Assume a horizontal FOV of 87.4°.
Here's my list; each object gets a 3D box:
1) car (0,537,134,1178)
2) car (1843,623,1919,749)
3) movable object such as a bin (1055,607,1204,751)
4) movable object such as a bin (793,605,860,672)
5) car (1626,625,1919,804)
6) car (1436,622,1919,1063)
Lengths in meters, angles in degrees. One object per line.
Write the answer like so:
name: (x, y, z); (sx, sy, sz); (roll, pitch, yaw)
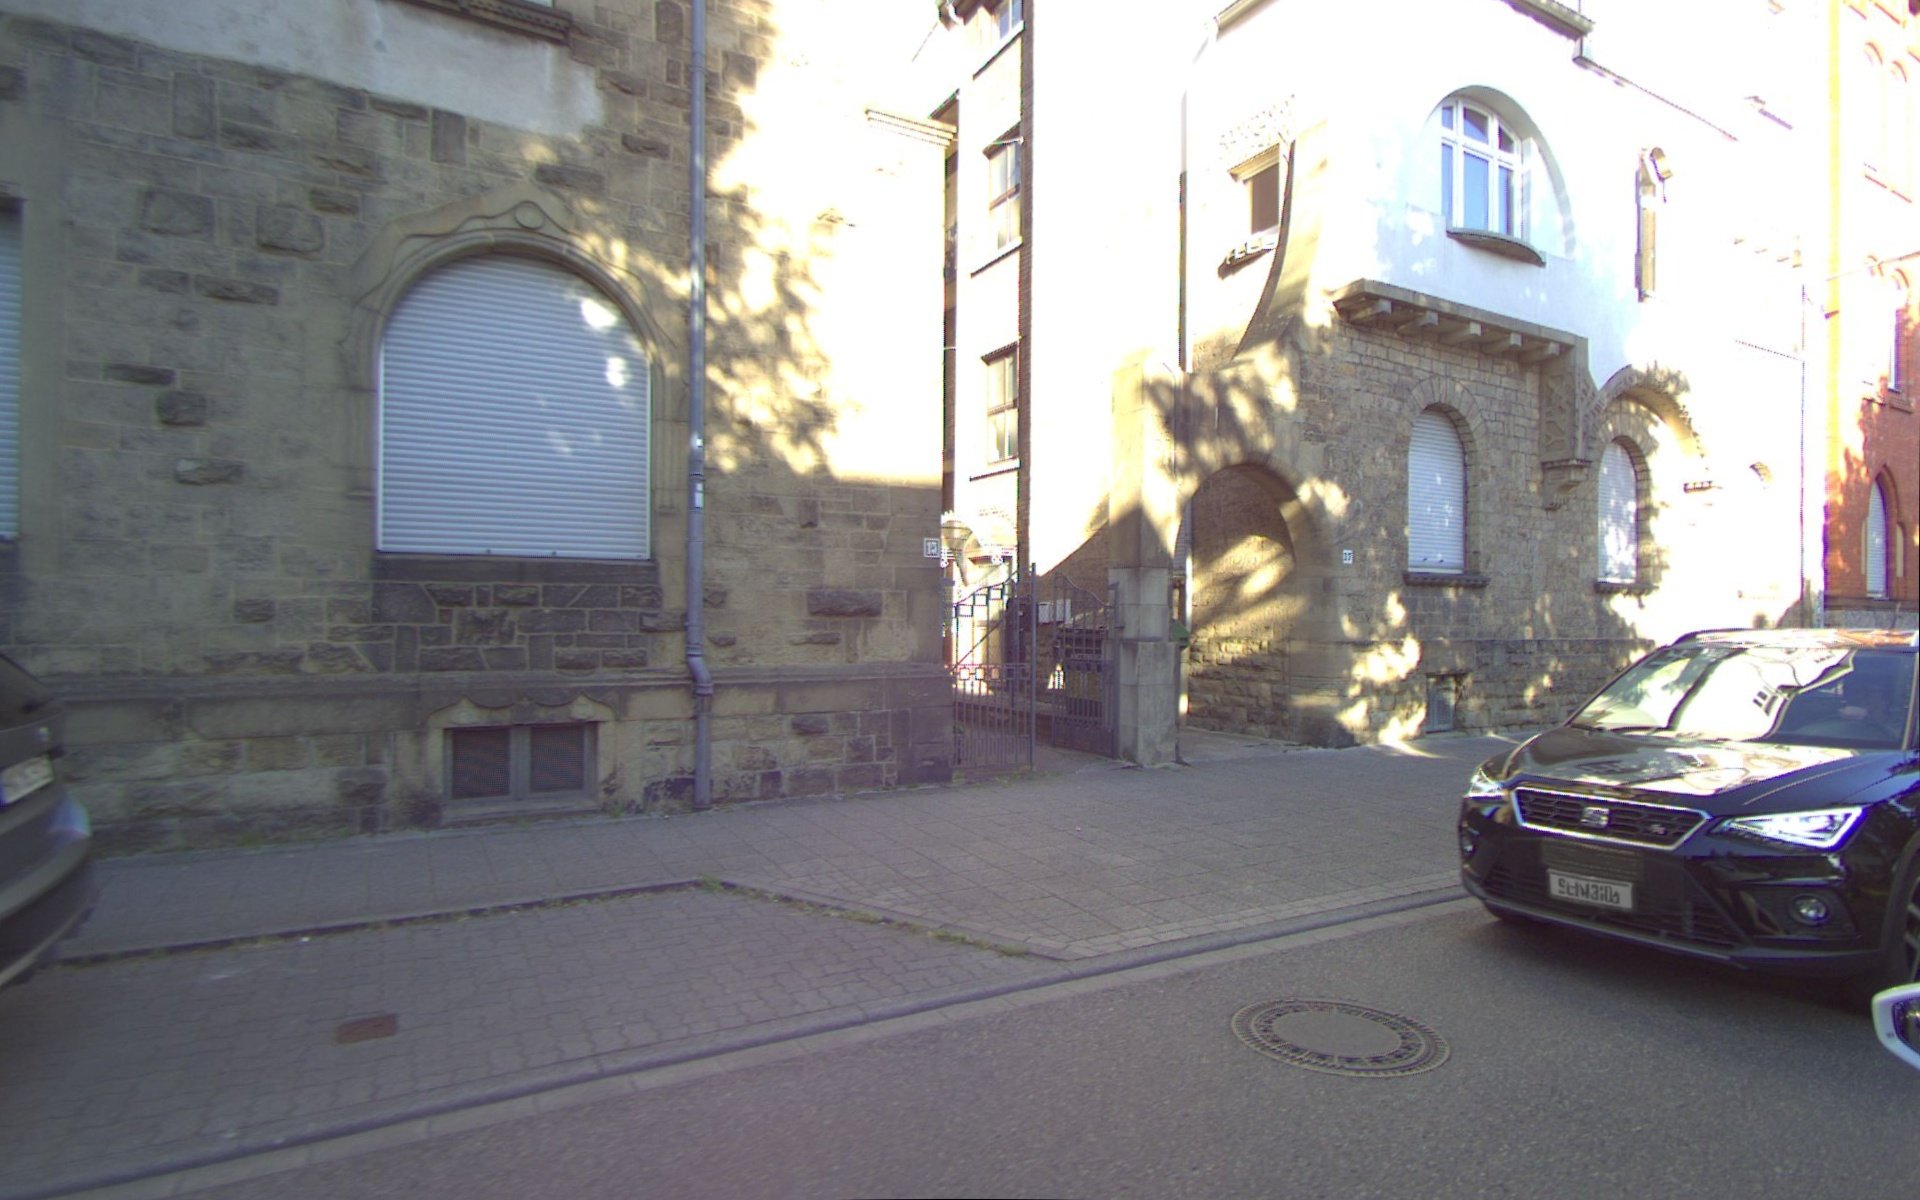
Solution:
car: (-4.740, 0.670, 2.163); (4.288, 1.740, 1.867); (1, 0, -30)
car: (13.158, 1.066, 12.936); (3.546, 1.490, 1.560); (1, 0, -29)
movable object such as a bin: (1.909, 0.858, 11.434); (1.160, 1.498, 1.187); (2, 0, -30)
movable object such as a bin: (-3.113, 0.882, 23.437); (1.160, 1.498, 1.187); (2, 0, -30)
car: (8.790, 1.018, 10.344); (4.065, 1.462, 1.668); (1, 0, -32)
car: (4.309, 0.882, 5.083); (3.715, 1.497, 1.619); (1, -2, -30)
